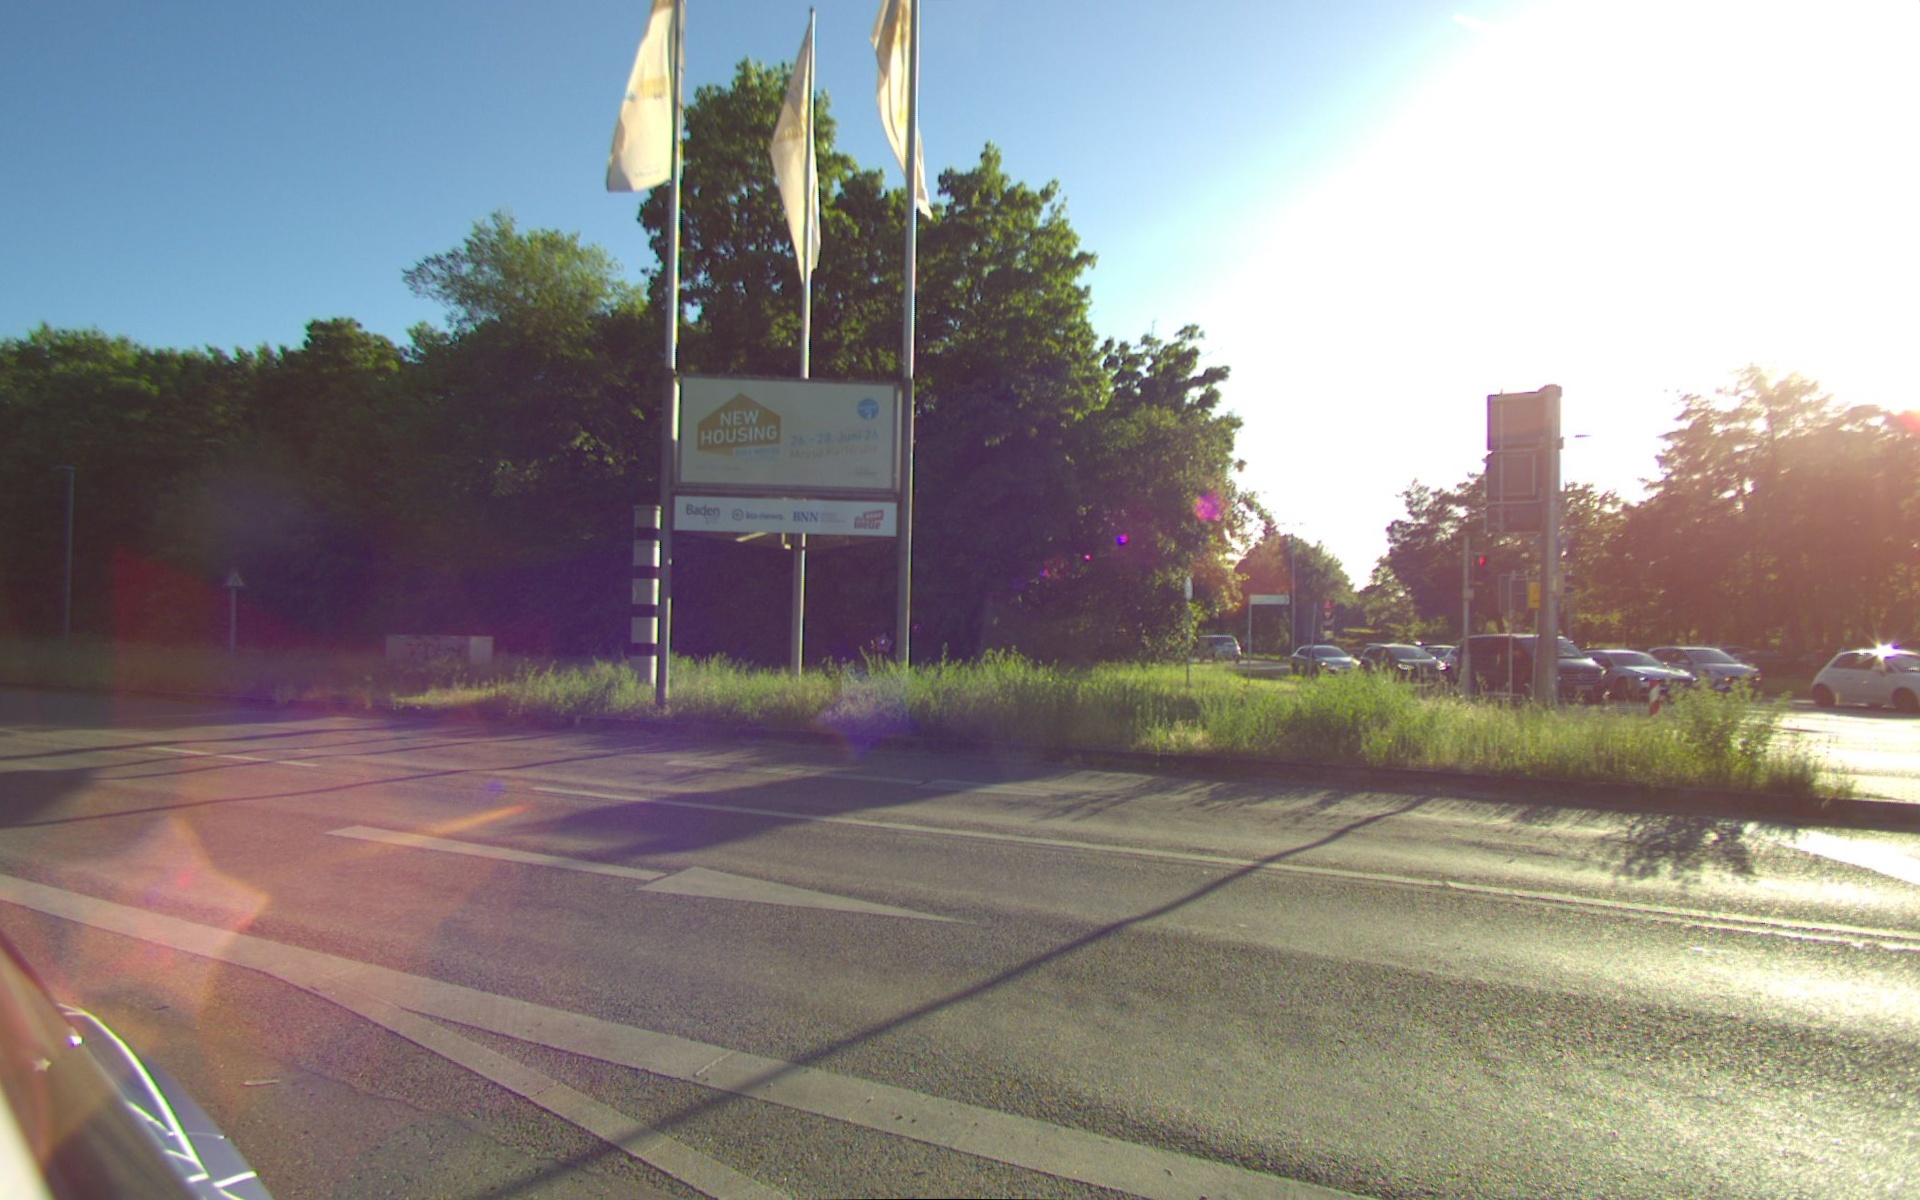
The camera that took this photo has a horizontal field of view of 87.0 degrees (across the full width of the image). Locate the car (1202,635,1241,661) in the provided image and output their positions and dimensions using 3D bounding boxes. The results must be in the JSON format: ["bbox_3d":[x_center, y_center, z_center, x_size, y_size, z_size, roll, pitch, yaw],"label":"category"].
[{"bbox_3d":[18.784,3.415,72.900,1.828,1.773,3.799,1,-2,0],"label":"car"}]

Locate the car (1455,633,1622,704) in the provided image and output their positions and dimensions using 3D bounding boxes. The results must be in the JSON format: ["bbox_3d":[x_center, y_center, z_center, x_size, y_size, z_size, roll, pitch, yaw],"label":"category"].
[{"bbox_3d":[16.367,1.876,28.984,1.901,1.844,4.933,1,-2,0],"label":"car"}]

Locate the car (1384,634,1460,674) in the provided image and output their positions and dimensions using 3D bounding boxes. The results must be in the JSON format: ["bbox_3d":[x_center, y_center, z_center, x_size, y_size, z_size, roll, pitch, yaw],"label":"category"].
[{"bbox_3d":[21.872,2.527,48.033,1.828,1.773,3.799,1,-2,0],"label":"car"}]

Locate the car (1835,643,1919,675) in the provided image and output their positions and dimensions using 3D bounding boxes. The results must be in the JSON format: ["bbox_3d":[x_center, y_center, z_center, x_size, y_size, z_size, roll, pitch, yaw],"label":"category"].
[{"bbox_3d":[49.739,3.143,54.181,3.931,1.612,1.806,0,-2,13],"label":"car"}]

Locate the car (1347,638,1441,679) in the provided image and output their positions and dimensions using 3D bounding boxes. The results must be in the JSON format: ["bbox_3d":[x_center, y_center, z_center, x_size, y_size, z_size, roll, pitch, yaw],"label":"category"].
[{"bbox_3d":[16.017,2.121,37.547,1.828,1.400,3.799,1,-2,0],"label":"car"}]

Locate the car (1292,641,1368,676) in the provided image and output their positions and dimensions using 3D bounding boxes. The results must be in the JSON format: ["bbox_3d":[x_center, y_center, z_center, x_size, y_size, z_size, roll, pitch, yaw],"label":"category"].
[{"bbox_3d":[15.926,2.495,43.765,1.828,1.400,3.799,1,-2,0],"label":"car"}]

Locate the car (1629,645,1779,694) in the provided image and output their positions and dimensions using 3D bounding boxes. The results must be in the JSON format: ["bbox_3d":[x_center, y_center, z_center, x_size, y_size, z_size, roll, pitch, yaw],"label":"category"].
[{"bbox_3d":[23.110,2.127,31.610,1.828,1.400,3.799,1,-2,0],"label":"car"}]

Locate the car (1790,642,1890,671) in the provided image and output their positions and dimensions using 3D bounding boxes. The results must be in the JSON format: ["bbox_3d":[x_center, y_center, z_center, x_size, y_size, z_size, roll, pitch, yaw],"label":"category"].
[{"bbox_3d":[50.940,3.252,58.637,3.931,1.612,1.806,0,-2,13],"label":"car"}]

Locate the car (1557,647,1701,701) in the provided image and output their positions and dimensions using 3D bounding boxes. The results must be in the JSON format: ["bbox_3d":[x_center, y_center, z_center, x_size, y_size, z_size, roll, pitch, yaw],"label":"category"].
[{"bbox_3d":[19.315,2.108,29.447,1.625,1.400,3.799,1,-2,0],"label":"car"}]

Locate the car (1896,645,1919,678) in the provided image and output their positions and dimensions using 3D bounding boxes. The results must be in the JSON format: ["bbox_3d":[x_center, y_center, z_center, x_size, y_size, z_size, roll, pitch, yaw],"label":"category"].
[{"bbox_3d":[49.916,3.085,50.616,4.109,1.612,1.806,0,-2,13],"label":"car"}]

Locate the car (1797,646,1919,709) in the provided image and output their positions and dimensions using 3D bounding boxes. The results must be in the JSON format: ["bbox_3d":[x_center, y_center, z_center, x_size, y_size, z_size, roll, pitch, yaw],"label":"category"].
[{"bbox_3d":[22.967,1.856,24.676,1.901,1.400,3.799,1,-2,0],"label":"car"}]

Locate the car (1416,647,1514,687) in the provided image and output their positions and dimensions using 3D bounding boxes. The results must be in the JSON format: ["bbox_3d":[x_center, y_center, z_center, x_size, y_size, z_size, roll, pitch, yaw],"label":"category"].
[{"bbox_3d":[19.321,2.540,38.918,1.828,1.400,3.799,1,-2,0],"label":"car"}]
